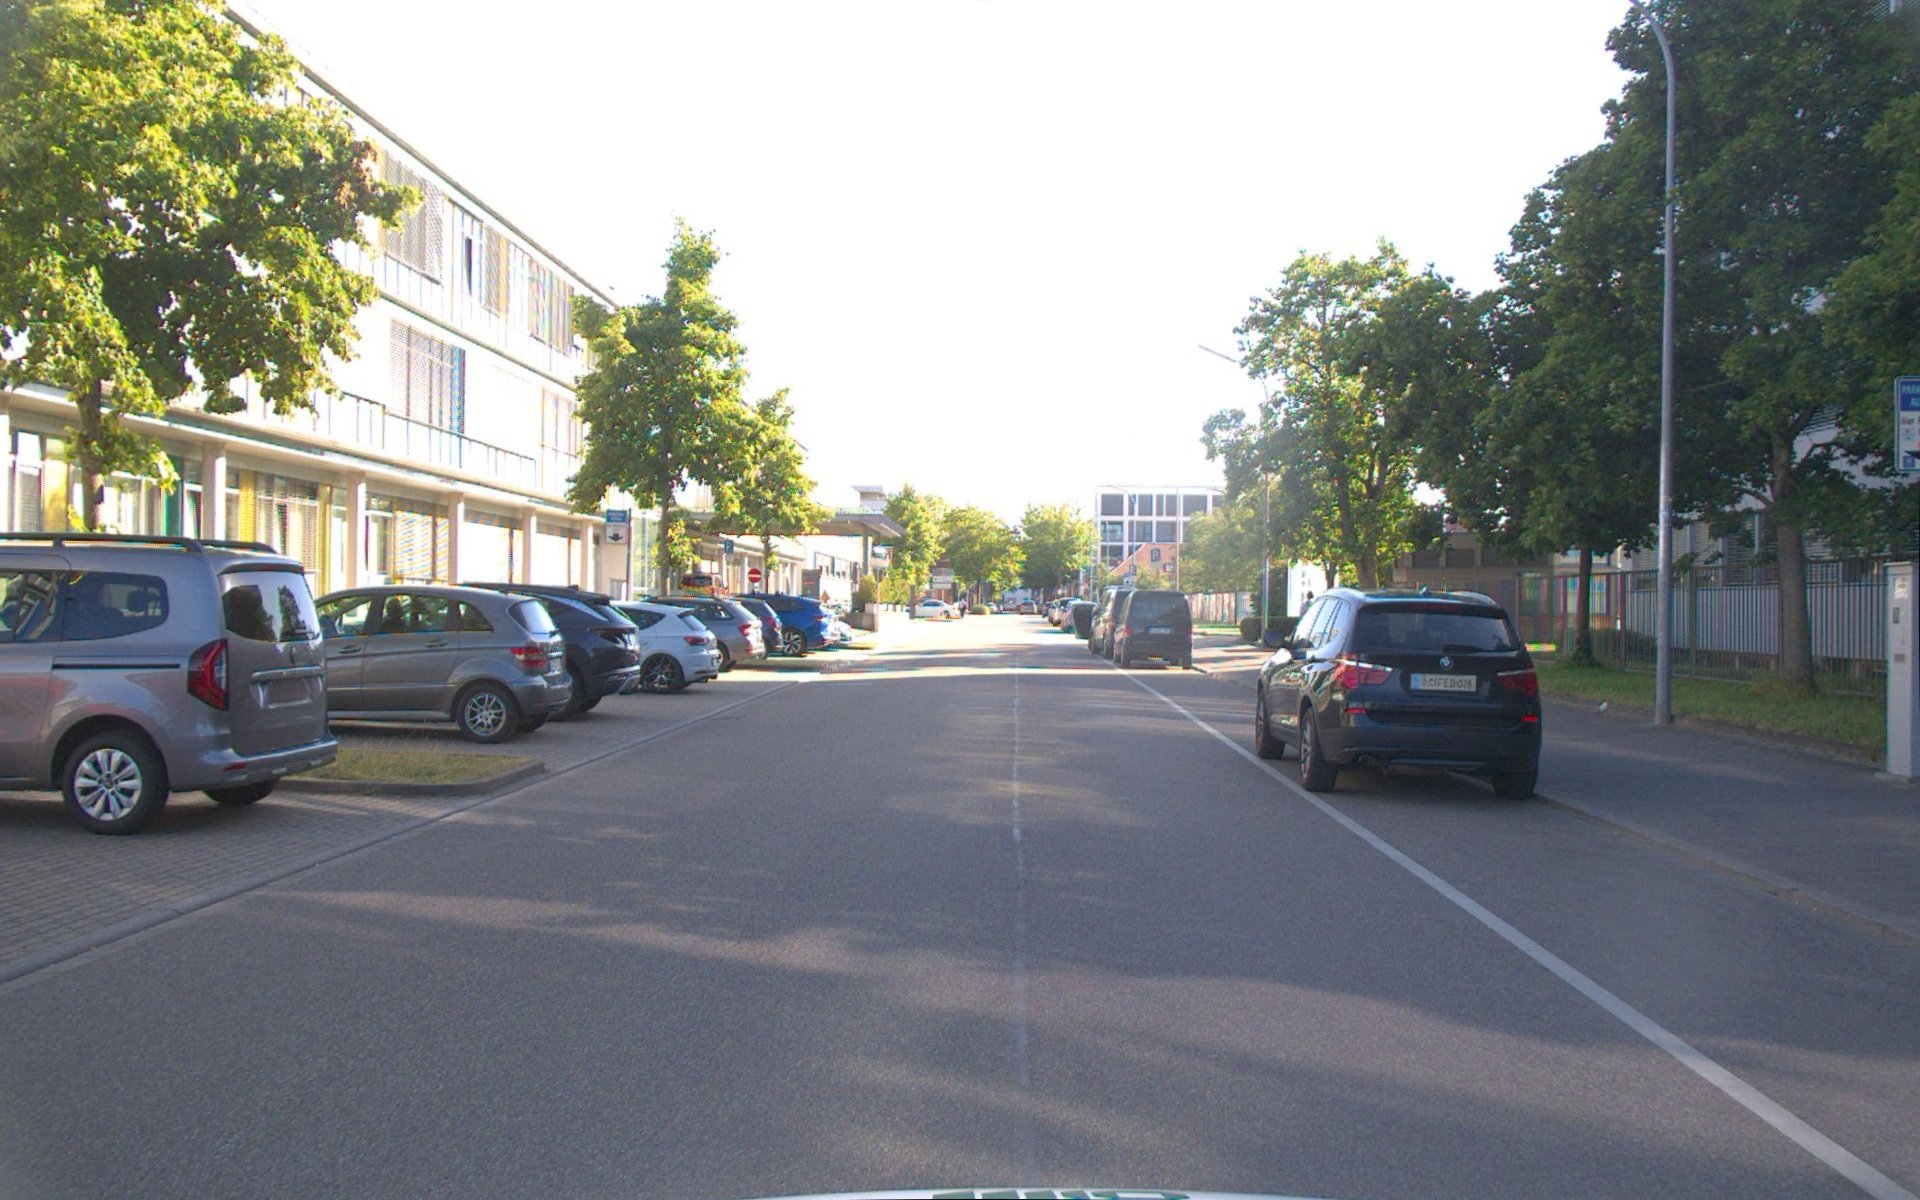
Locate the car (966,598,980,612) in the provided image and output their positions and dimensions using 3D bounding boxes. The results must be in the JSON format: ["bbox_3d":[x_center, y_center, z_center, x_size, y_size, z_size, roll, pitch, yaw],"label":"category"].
[{"bbox_3d":[1.542,0.559,193.955,1.692,1.563,4.000,0,0,0],"label":"car"}]

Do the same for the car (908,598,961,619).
[{"bbox_3d":[-1.951,0.680,127.615,3.904,1.546,2.000,0,-1,2],"label":"car"}]

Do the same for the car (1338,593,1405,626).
[{"bbox_3d":[26.731,0.634,107.490,3.905,2.049,2.000,1,-1,0],"label":"car"}]

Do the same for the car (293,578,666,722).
[{"bbox_3d":[-6.051,0.616,21.241,4.161,1.640,2.047,2,0,-2],"label":"car"}]

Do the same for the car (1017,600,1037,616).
[{"bbox_3d":[7.045,0.831,174.040,1.706,1.570,4.003,1,0,8],"label":"car"}]

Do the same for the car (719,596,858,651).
[{"bbox_3d":[-5.029,0.674,48.987,3.906,1.579,2.000,0,0,-1],"label":"car"}]

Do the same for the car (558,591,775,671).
[{"bbox_3d":[-5.982,0.627,34.059,4.129,1.487,1.871,2,0,-2],"label":"car"}]

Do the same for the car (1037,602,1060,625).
[{"bbox_3d":[8.150,1.219,152.577,1.952,2.049,4.000,0,-1,2],"label":"car"}]

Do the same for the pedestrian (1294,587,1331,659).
[{"bbox_3d":[8.514,0.559,39.915,0.684,1.690,0.752,-2,0,1],"label":"pedestrian"}]

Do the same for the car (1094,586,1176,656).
[{"bbox_3d":[4.823,0.558,46.051,1.952,1.855,4.199,-1,0,2],"label":"car"}]

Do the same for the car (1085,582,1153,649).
[{"bbox_3d":[4.985,0.463,52.298,1.836,2.013,4.001,-1,0,2],"label":"car"}]

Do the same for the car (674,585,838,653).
[{"bbox_3d":[-5.384,0.498,44.051,4.129,1.631,1.871,2,0,-2],"label":"car"}]

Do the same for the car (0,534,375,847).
[{"bbox_3d":[-6.676,0.512,11.305,4.644,1.897,1.828,2,0,2],"label":"car"}]

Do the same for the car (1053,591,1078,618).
[{"bbox_3d":[6.407,0.283,100.925,1.406,1.588,3.042,0,0,2],"label":"car"}]

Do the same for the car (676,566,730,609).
[{"bbox_3d":[-12.874,-0.595,83.089,1.952,2.049,4.000,0,-1,2],"label":"car"}]

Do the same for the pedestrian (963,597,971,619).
[{"bbox_3d":[0.517,0.597,125.049,0.606,1.652,0.716,-1,0,2],"label":"pedestrian"}]

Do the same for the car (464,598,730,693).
[{"bbox_3d":[-5.817,0.716,26.851,3.906,1.382,1.742,2,0,-2],"label":"car"}]

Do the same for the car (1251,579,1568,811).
[{"bbox_3d":[3.811,0.690,14.857,1.774,1.695,4.594,2,1,3],"label":"car"}]

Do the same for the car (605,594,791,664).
[{"bbox_3d":[-6.216,0.672,39.590,4.129,1.512,1.871,2,0,-2],"label":"car"}]

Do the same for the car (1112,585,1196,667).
[{"bbox_3d":[4.619,0.590,39.812,1.697,1.862,3.906,0,0,2],"label":"car"}]

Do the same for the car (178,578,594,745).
[{"bbox_3d":[-6.222,0.652,18.289,3.906,1.635,1.871,2,0,-2],"label":"car"}]

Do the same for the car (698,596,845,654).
[{"bbox_3d":[-5.250,0.689,46.482,3.906,1.579,2.000,0,0,-1],"label":"car"}]

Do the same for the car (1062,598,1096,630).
[{"bbox_3d":[5.674,0.656,79.373,1.466,1.505,3.650,-1,0,2],"label":"car"}]
